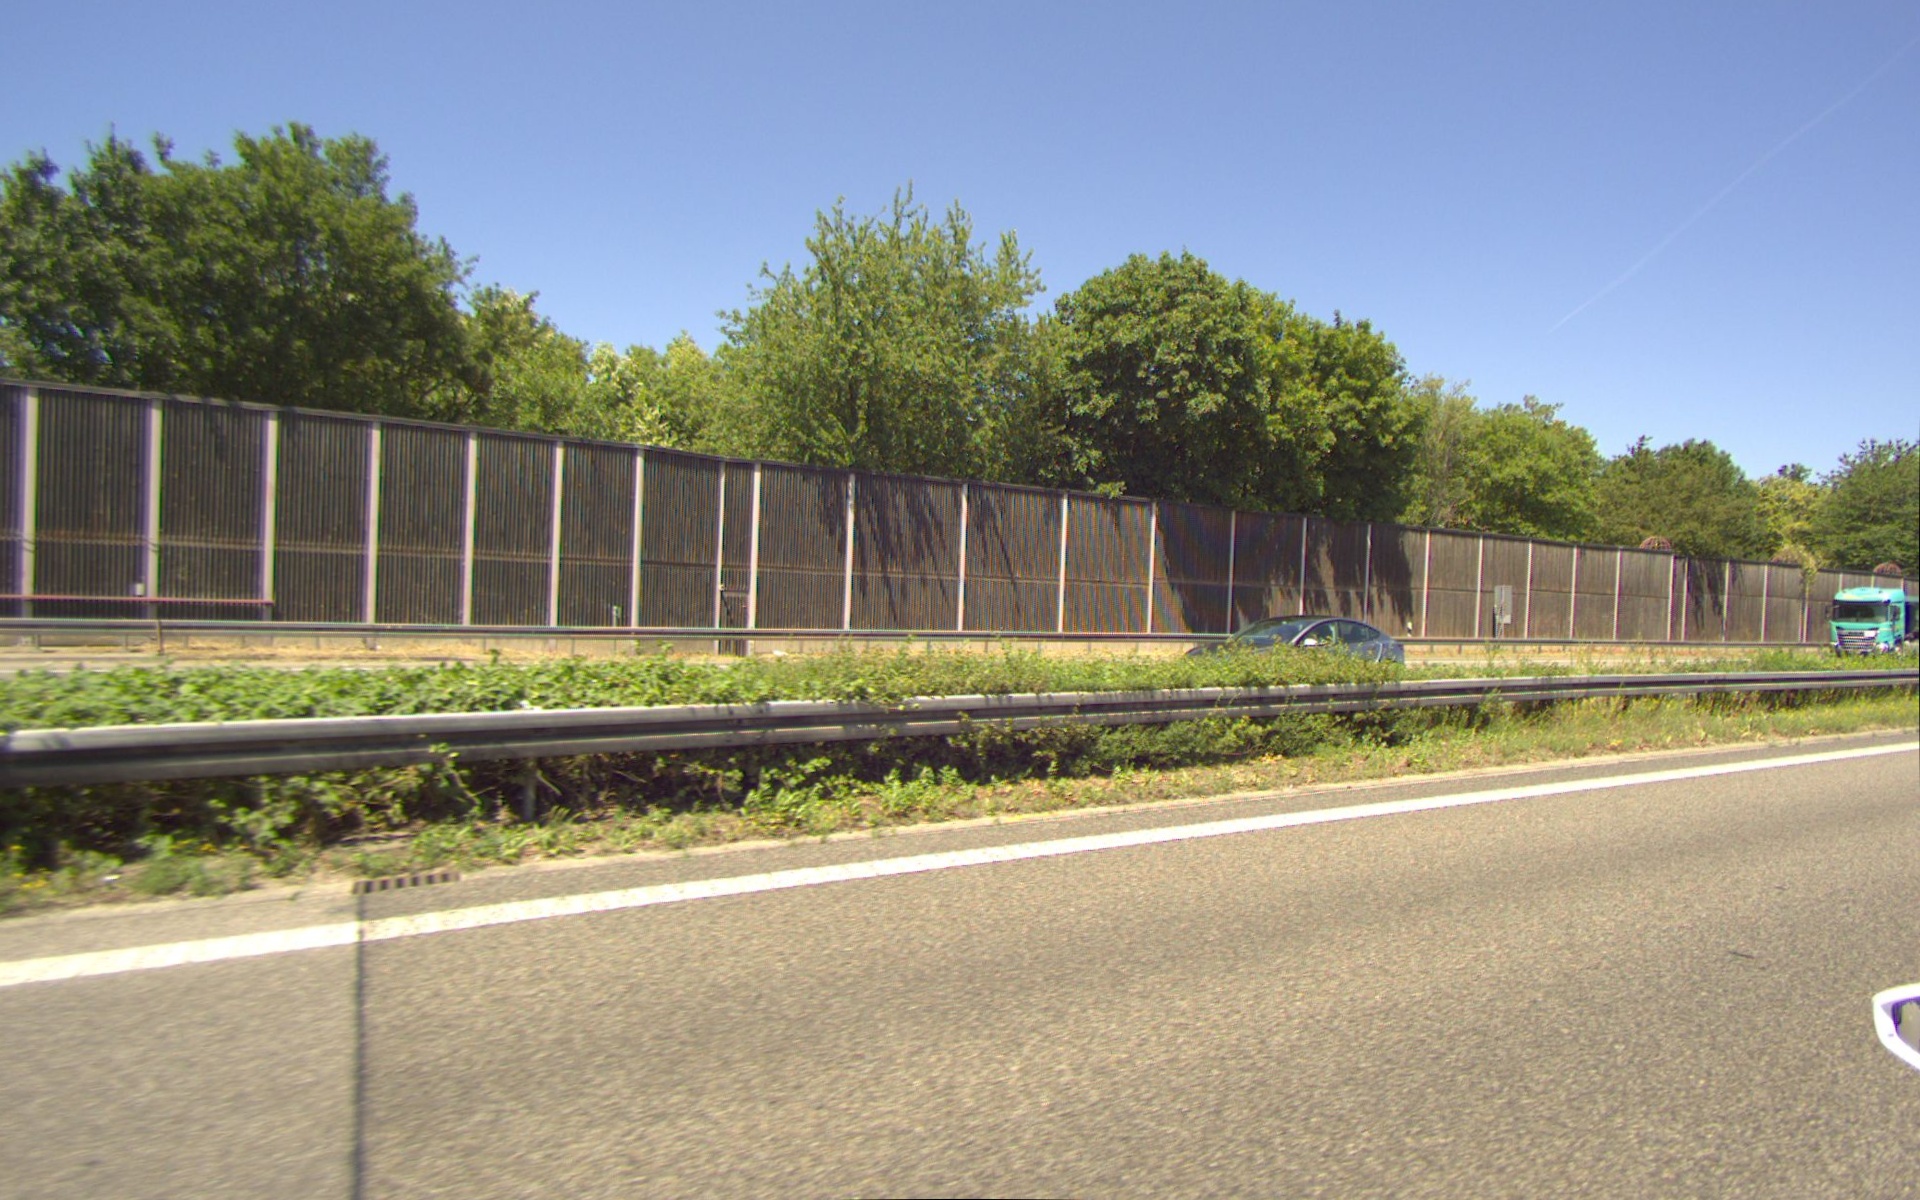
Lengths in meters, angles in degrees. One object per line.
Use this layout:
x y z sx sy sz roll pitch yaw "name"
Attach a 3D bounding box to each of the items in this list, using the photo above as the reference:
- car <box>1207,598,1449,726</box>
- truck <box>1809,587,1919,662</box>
6.701 1.070 18.266 3.953 1.974 1.984 2 3 -30 "car"
50.338 1.375 54.284 12.227 3.724 3.074 2 0 -31 "truck"
